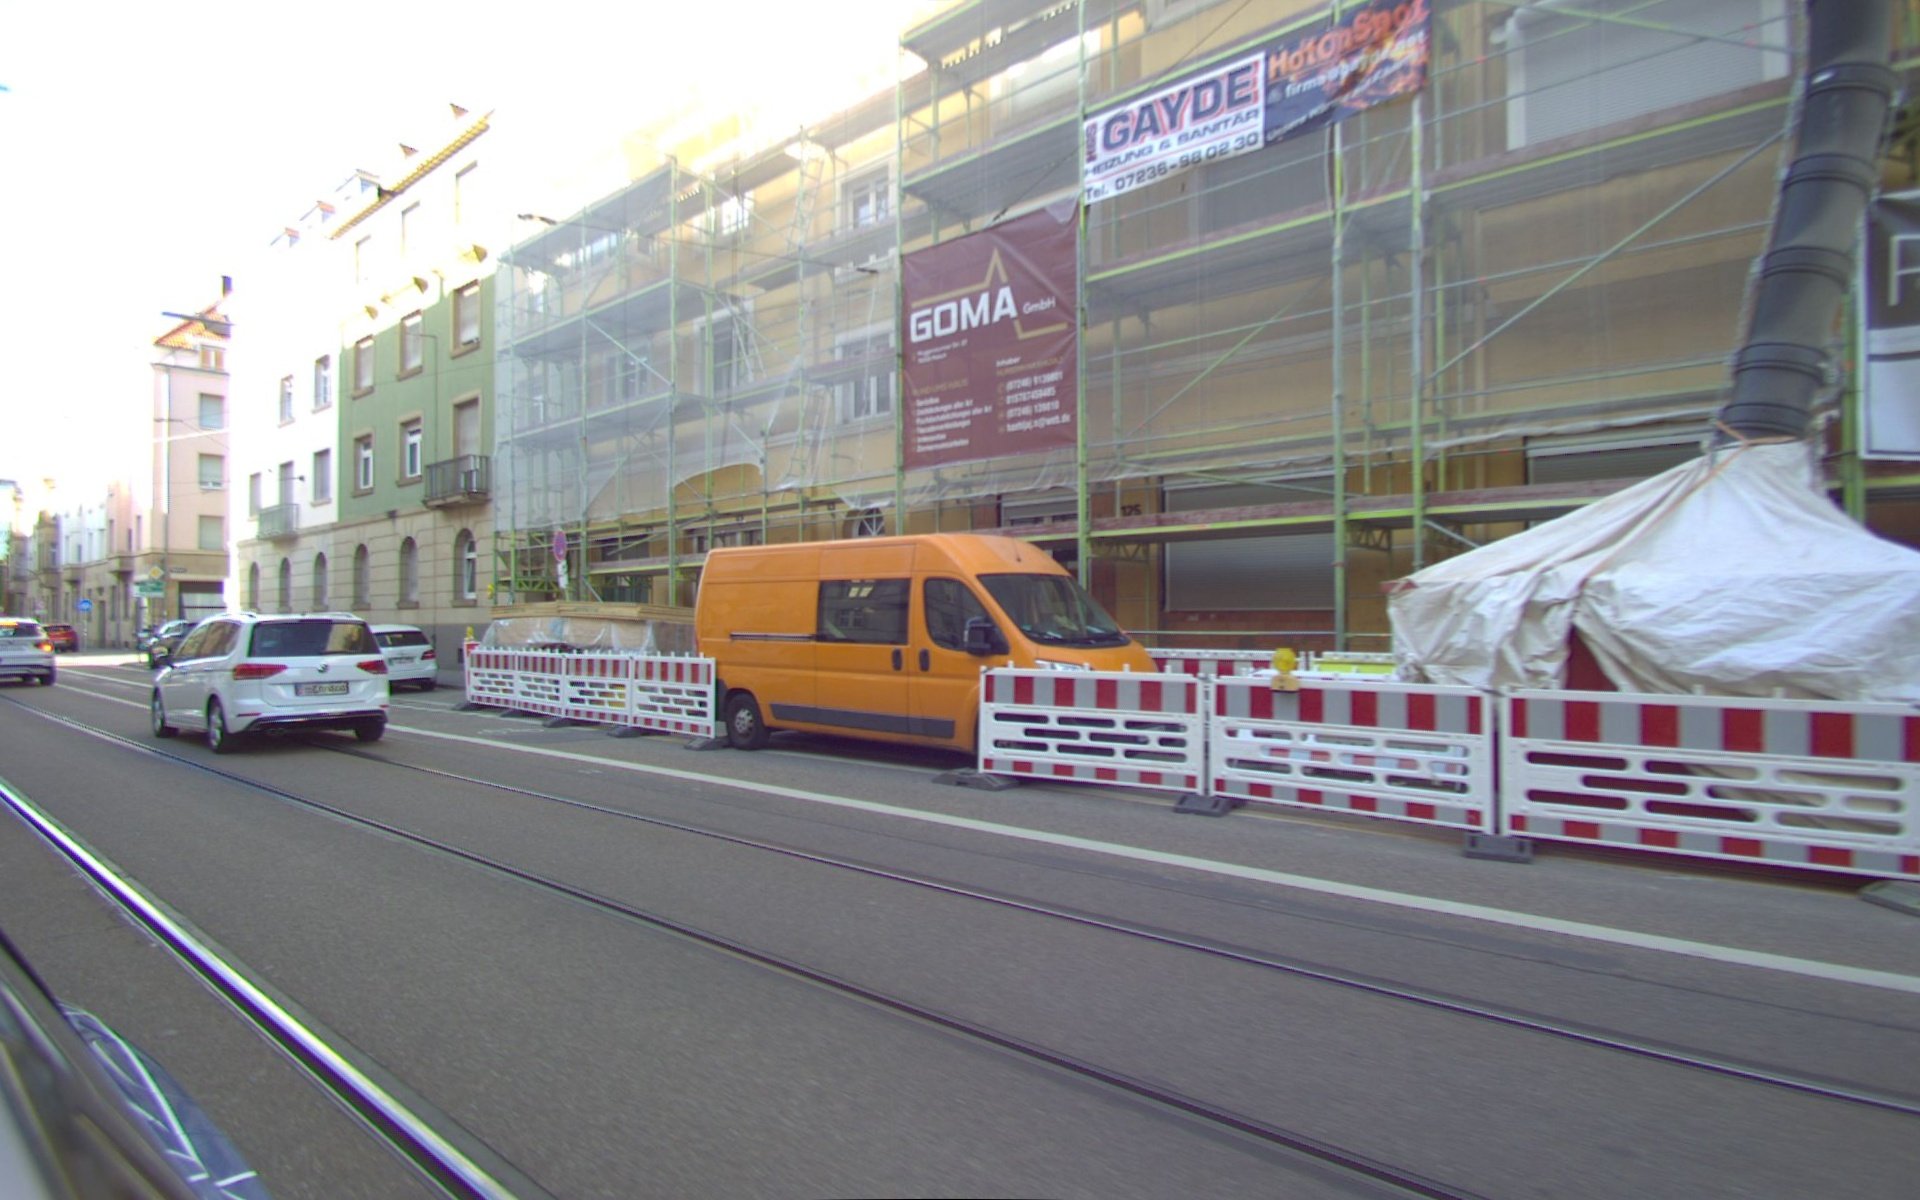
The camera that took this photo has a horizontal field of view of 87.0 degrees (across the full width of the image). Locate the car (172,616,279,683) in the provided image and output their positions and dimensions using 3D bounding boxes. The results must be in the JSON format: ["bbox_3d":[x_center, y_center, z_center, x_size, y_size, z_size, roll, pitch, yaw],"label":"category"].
[{"bbox_3d":[-22.686,1.485,31.213,3.766,1.860,1.776,-2,0,40],"label":"car"}]

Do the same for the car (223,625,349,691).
[{"bbox_3d":[-18.209,1.514,27.276,4.219,1.590,1.681,-2,0,40],"label":"car"}]

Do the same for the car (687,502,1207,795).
[{"bbox_3d":[-0.456,0.497,11.375,5.997,2.488,2.097,-2,-3,42],"label":"car"}]

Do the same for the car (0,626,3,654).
[{"bbox_3d":[-72.350,2.943,74.751,3.998,2.029,1.973,-2,-3,41],"label":"car"}]

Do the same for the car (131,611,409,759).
[{"bbox_3d":[-8.893,0.980,12.920,4.197,1.580,1.803,-2,-3,39],"label":"car"}]

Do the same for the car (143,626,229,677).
[{"bbox_3d":[-26.435,1.717,34.513,3.770,1.622,1.774,-2,-2,44],"label":"car"}]

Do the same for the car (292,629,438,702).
[{"bbox_3d":[-13.740,1.447,23.305,3.998,1.523,1.728,-2,-3,41],"label":"car"}]

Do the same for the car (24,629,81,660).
[{"bbox_3d":[-49.373,2.403,55.013,3.766,1.514,1.776,-2,0,40],"label":"car"}]

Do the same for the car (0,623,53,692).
[{"bbox_3d":[-24.190,1.405,25.255,4.290,1.619,1.749,-2,-3,40],"label":"car"}]

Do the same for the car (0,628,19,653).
[{"bbox_3d":[-63.782,2.688,67.021,3.767,1.514,1.775,-1,0,41],"label":"car"}]
